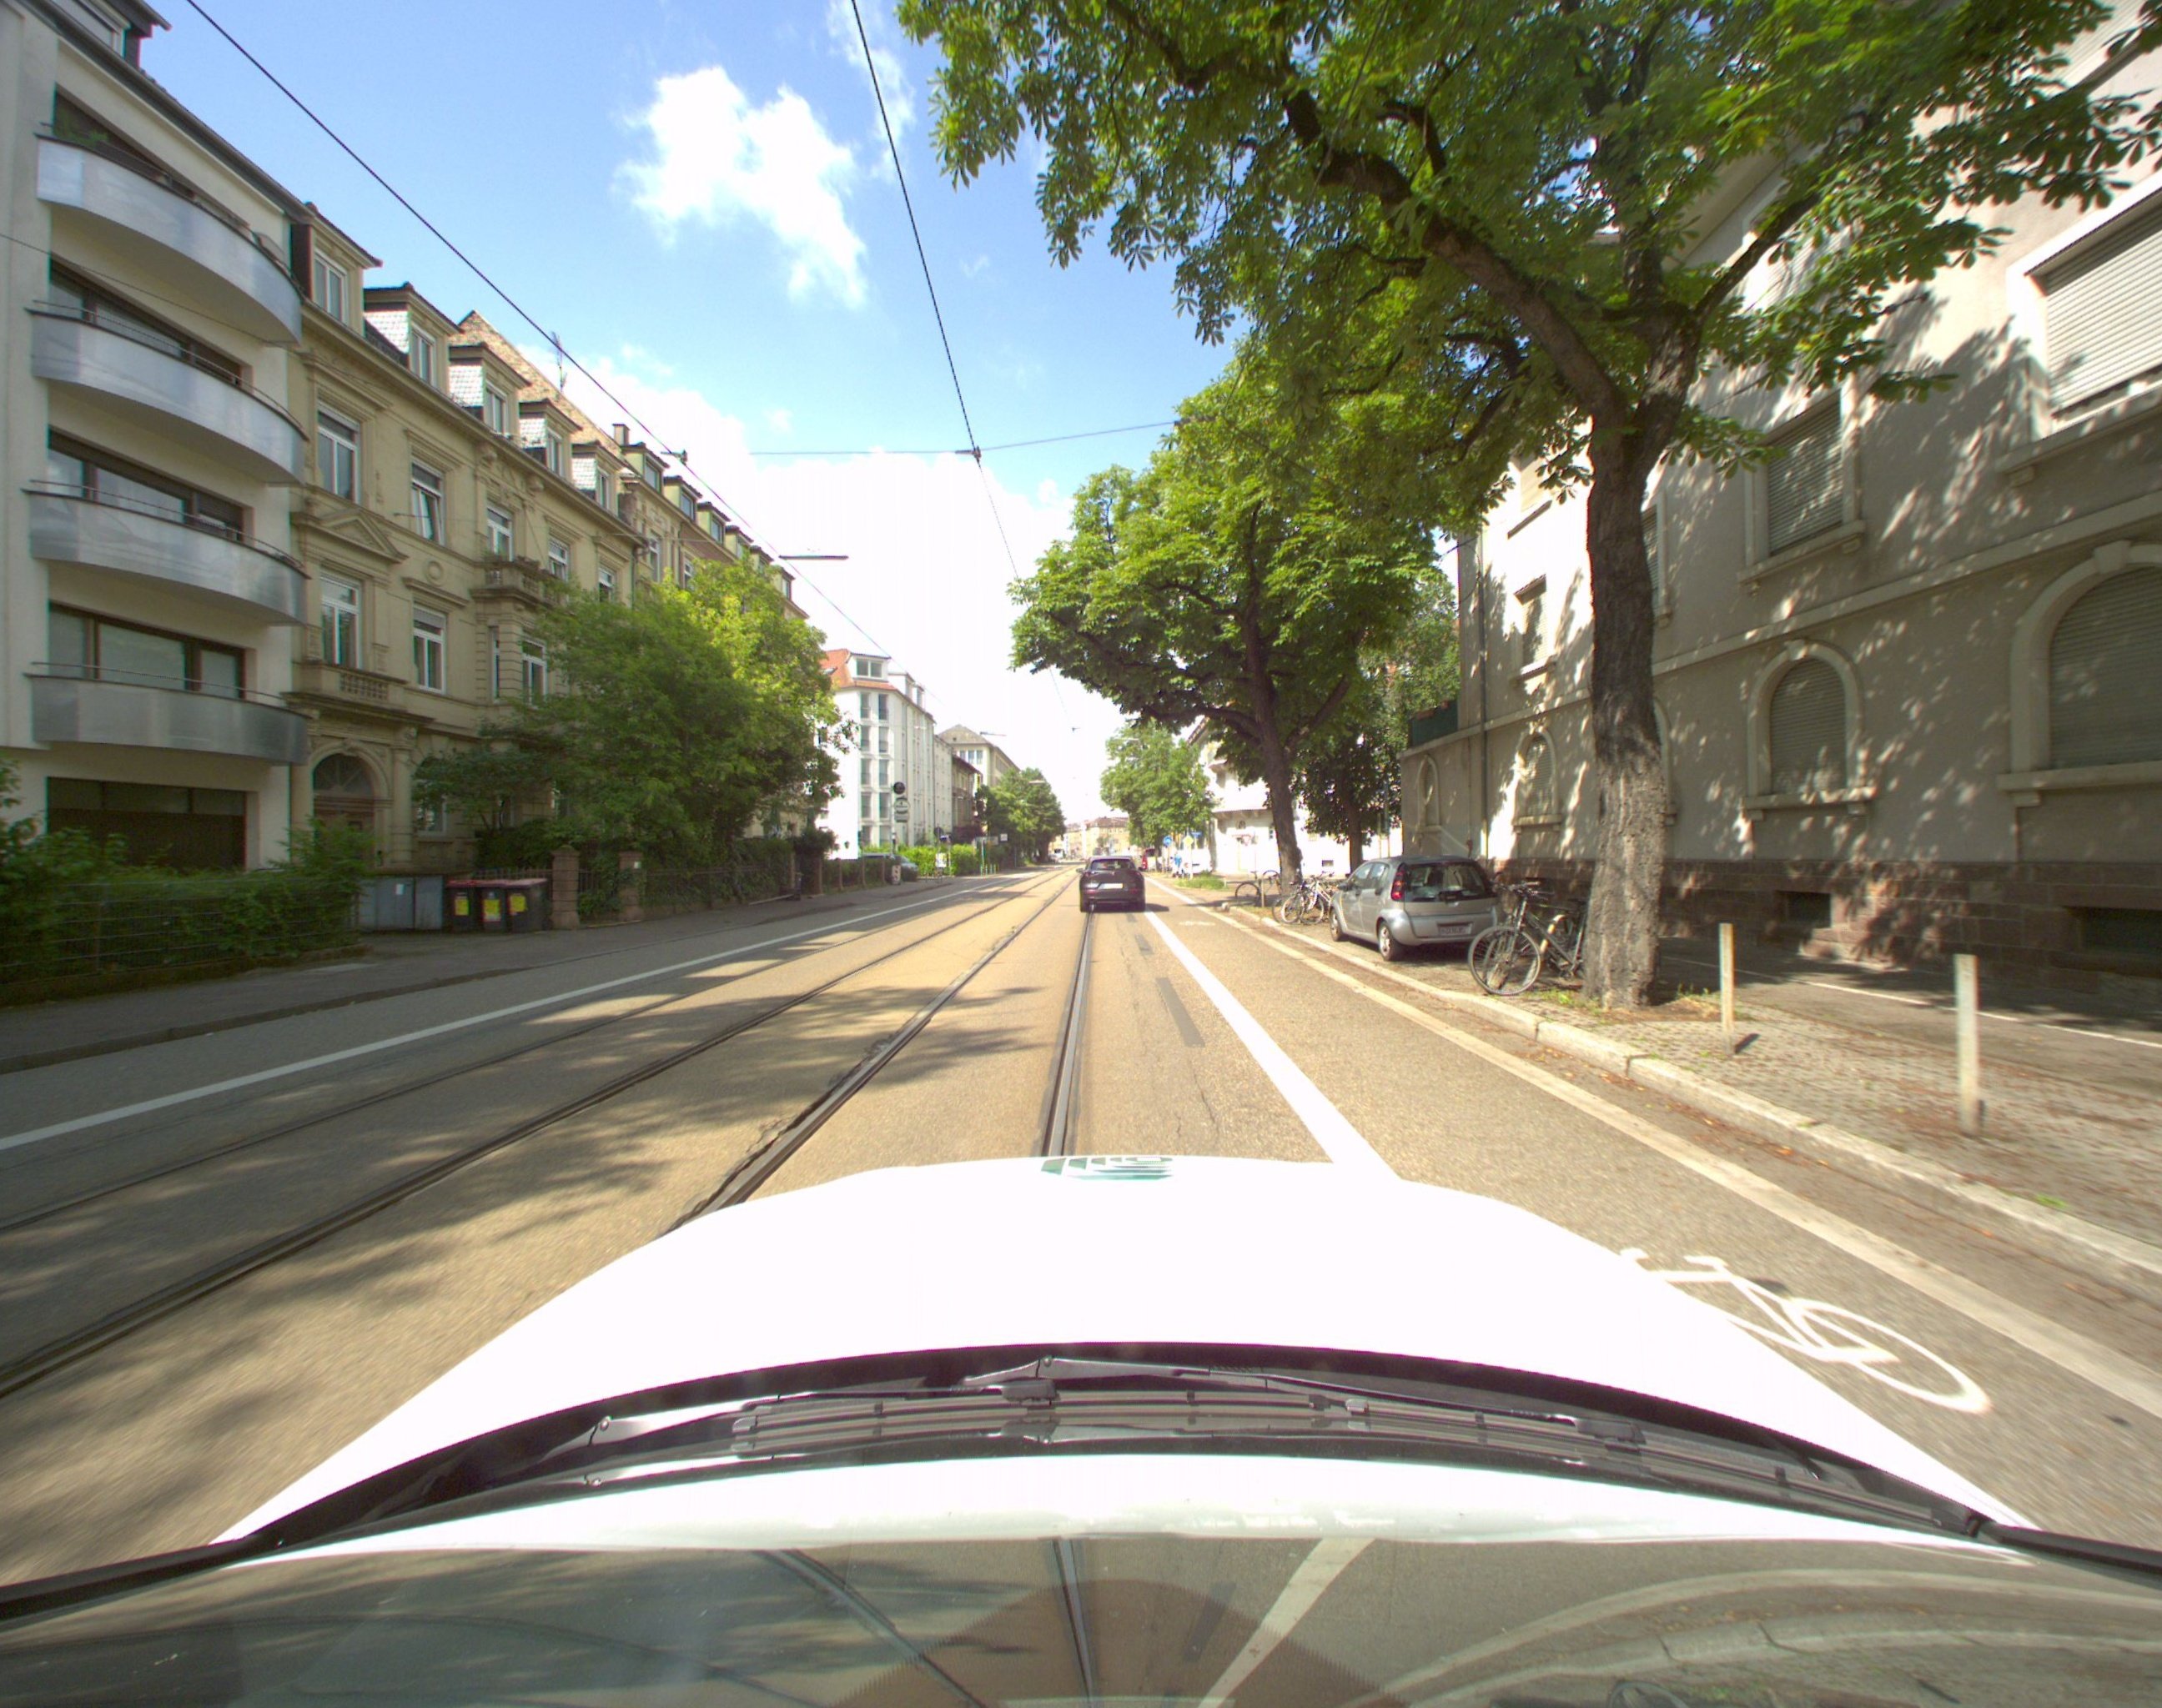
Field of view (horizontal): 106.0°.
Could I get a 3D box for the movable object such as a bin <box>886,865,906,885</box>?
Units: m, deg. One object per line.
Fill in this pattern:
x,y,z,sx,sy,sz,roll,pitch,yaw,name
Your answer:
-9.772,1.105,43.086,0.742,0.988,1.114,1,0,1,movable object such as a bin

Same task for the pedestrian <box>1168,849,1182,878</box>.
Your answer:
5.991,0.586,51.867,0.810,1.835,0.965,0,0,11,pedestrian

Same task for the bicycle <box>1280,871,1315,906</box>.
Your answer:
5.870,0.919,22.104,0.258,0.900,1.768,-1,0,-7,bicycle

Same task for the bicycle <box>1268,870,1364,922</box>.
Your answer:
4.959,0.885,17.238,1.896,1.072,0.402,-1,0,1,bicycle

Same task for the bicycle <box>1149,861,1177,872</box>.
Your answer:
6.818,1.049,67.633,2.267,0.861,0.671,-1,0,0,bicycle

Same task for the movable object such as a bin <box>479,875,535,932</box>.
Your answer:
-11.799,1.008,16.767,0.546,1.108,0.791,-1,0,6,movable object such as a bin

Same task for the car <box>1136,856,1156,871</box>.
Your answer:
6.234,0.915,78.567,1.715,1.424,3.590,-1,0,1,car

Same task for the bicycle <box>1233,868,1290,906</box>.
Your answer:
4.932,0.897,22.286,1.485,0.983,0.259,-1,-1,3,bicycle

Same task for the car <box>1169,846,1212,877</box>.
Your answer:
7.261,0.483,54.435,1.784,1.938,4.982,-1,0,-5,car

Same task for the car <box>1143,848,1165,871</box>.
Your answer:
6.350,0.464,71.171,1.714,1.968,4.209,-1,0,2,car

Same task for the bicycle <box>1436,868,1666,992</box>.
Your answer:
4.693,0.765,8.247,1.924,1.176,0.515,-2,-1,12,bicycle

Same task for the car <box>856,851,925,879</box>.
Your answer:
-14.243,0.799,60.932,4.621,2.013,2.058,-1,0,23,car

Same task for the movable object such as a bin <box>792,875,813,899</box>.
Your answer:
-10.454,1.243,30.592,0.560,0.876,0.616,-1,0,1,movable object such as a bin

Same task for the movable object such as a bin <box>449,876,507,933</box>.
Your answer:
-12.373,1.021,16.734,0.546,1.108,0.791,-1,0,6,movable object such as a bin

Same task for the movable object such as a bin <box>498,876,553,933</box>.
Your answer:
-11.260,1.009,16.531,0.535,1.094,0.791,-1,0,6,movable object such as a bin

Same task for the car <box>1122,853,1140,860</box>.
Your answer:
12.058,0.656,196.573,3.815,1.618,1.628,1,0,-17,car

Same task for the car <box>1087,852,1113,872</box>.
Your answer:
1.545,0.627,66.415,1.987,1.529,4.000,1,0,1,car

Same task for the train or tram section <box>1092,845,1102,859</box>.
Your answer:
4.758,-0.543,239.343,2.562,3.772,13.031,-1,0,2,train or tram section

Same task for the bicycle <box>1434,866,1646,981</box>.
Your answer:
4.876,0.741,8.761,1.881,1.176,0.515,-2,-1,12,bicycle

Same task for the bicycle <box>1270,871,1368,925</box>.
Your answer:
4.885,0.894,16.791,1.896,1.072,0.402,-1,0,1,bicycle

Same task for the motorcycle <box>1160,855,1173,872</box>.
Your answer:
6.678,0.751,63.747,0.791,1.271,2.423,-1,0,1,motorcycle

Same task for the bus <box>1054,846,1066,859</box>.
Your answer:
-6.049,-0.351,231.179,2.684,3.421,10.999,1,0,-5,bus

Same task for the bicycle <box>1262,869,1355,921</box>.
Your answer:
4.922,0.879,17.634,1.896,1.072,0.402,-1,0,1,bicycle

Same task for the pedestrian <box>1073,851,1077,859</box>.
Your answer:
-1.578,0.363,209.401,0.882,2.013,0.617,-1,0,-3,pedestrian

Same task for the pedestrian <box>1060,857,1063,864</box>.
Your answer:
-4.372,1.425,184.983,0.749,1.510,0.823,-1,0,-3,pedestrian

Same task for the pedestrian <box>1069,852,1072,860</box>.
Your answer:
-2.682,0.514,209.450,0.882,2.013,0.617,-1,0,-3,pedestrian

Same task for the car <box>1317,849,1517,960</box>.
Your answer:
5.098,0.688,12.918,1.660,1.430,3.767,-3,0,2,car

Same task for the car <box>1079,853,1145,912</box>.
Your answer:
0.842,0.736,23.186,1.715,1.526,3.590,-1,0,1,car

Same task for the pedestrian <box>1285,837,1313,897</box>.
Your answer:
6.860,0.423,25.662,0.608,1.836,0.878,-1,-2,-1,pedestrian
